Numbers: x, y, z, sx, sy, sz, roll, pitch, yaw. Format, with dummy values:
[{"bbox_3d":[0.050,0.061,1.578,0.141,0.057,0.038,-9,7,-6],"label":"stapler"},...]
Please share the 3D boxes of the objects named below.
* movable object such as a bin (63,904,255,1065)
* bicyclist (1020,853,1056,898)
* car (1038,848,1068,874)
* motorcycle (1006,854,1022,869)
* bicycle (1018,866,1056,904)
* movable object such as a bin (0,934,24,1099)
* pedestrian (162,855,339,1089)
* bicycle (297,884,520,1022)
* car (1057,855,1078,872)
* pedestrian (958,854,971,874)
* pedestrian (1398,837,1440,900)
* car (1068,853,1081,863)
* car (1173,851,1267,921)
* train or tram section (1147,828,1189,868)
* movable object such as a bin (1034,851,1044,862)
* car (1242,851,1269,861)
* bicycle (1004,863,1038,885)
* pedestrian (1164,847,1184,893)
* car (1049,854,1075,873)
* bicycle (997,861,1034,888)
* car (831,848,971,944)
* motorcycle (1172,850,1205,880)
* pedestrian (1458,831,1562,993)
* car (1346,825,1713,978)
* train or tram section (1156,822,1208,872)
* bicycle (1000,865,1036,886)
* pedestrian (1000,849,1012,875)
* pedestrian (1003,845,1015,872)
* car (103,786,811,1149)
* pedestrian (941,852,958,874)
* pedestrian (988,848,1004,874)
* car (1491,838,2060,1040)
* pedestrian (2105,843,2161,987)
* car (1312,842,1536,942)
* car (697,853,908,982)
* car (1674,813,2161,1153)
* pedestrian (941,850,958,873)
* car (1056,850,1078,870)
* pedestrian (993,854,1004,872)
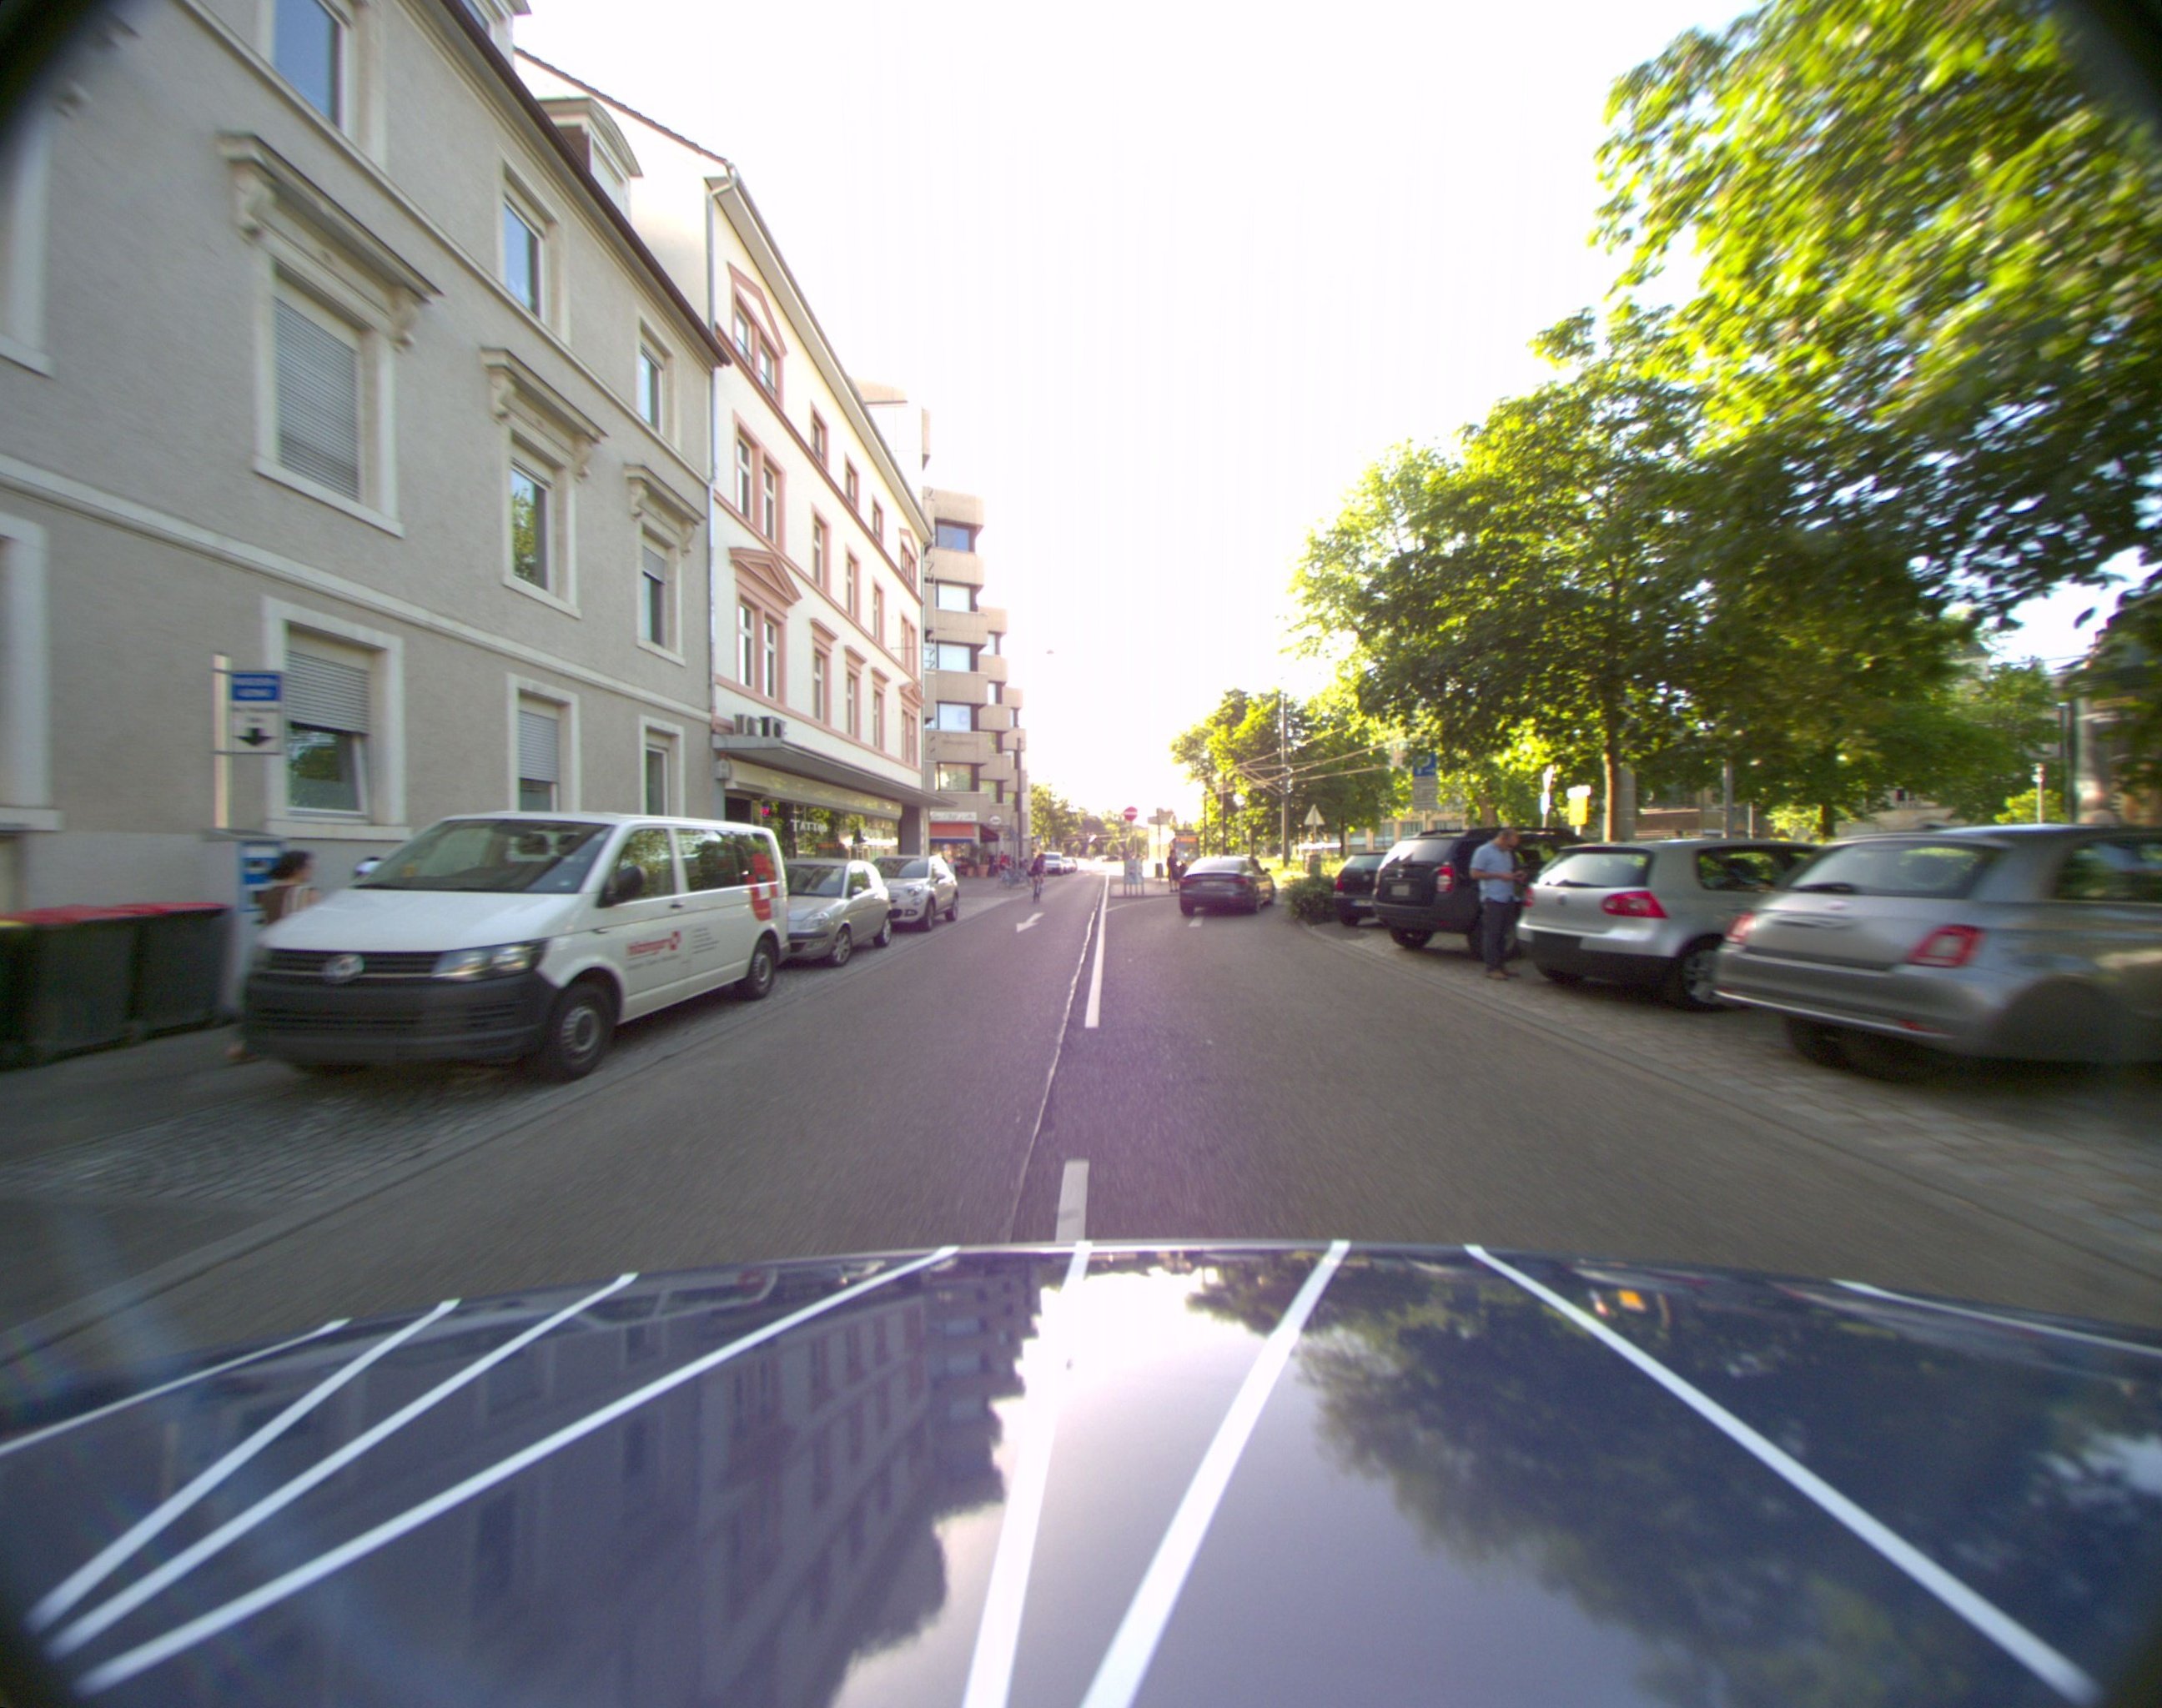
[{"bbox_3d":[-7.276,1.013,6.024,0.770,1.154,0.578,-2,2,5],"label":"movable object such as a bin"},{"bbox_3d":[-1.470,0.718,26.185,1.040,1.475,0.988,-2,2,7],"label":"bicyclist"},{"bbox_3d":[-2.154,0.521,60.095,1.998,1.802,4.309,-2,1,2],"label":"car"},{"bbox_3d":[-5.745,0.638,65.589,0.765,1.148,2.049,2,2,12],"label":"motorcycle"},{"bbox_3d":[-1.470,1.046,26.078,0.887,1.129,2.229,-2,1,7],"label":"bicycle"},{"bbox_3d":[-7.487,1.066,4.772,0.796,1.070,0.660,2,2,4],"label":"movable object such as a bin"},{"bbox_3d":[-6.158,0.846,5.652,0.751,1.598,0.458,5,2,2],"label":"pedestrian"},{"bbox_3d":[-7.030,0.972,8.067,0.483,1.179,1.722,2,3,21],"label":"bicycle"},{"bbox_3d":[-1.339,0.902,77.484,1.675,1.510,4.199,-2,1,5],"label":"car"},{"bbox_3d":[-7.618,0.660,49.703,0.844,1.285,0.830,0,2,-10],"label":"pedestrian"},{"bbox_3d":[9.316,0.388,20.961,0.671,1.689,0.803,-4,2,-39],"label":"pedestrian"},{"bbox_3d":[-0.861,0.524,103.085,1.770,1.430,4.583,0,0,0],"label":"car"},{"bbox_3d":[3.667,0.719,19.353,1.914,1.409,4.814,-2,1,15],"label":"car"},{"bbox_3d":[8.616,-0.529,76.856,2.956,3.591,13.636,-2,0,2],"label":"train or tram section"},{"bbox_3d":[-6.597,0.409,118.632,1.261,1.699,0.943,-1,2,-23],"label":"movable object such as a bin"},{"bbox_3d":[31.739,0.385,138.418,2.109,1.724,5.076,-1,0,-24],"label":"car"},{"bbox_3d":[-3.039,1.005,38.450,1.681,1.056,0.344,-2,2,18],"label":"bicycle"},{"bbox_3d":[3.425,0.585,28.147,0.637,1.663,0.692,-2,2,3],"label":"pedestrian"},{"bbox_3d":[-1.612,0.815,67.061,1.778,1.445,4.731,-2,1,4],"label":"car"},{"bbox_3d":[-3.159,0.979,36.624,1.623,1.236,0.660,-2,2,22],"label":"bicycle"},{"bbox_3d":[-3.853,0.796,17.212,1.749,1.729,4.960,-2,1,2],"label":"car"},{"bbox_3d":[5.133,0.505,36.473,0.749,1.366,1.757,-3,2,-21],"label":"motorcycle"},{"bbox_3d":[4.564,0.592,8.121,0.701,1.640,0.646,-2,2,-4],"label":"pedestrian"},{"bbox_3d":[5.992,0.548,10.346,4.001,1.658,1.998,-3,1,-14],"label":"car"},{"bbox_3d":[8.275,-0.525,63.757,2.956,3.664,13.185,-2,0,2],"label":"train or tram section"},{"bbox_3d":[-3.168,1.061,38.090,1.705,0.998,0.428,-2,2,18],"label":"bicycle"},{"bbox_3d":[-5.099,0.551,51.532,0.585,1.705,0.698,-2,2,5],"label":"pedestrian"},{"bbox_3d":[-4.957,0.290,52.287,0.672,1.846,0.610,1,2,5],"label":"pedestrian"},{"bbox_3d":[-4.380,0.630,6.785,1.998,1.993,5.117,-1,0,1],"label":"car"},{"bbox_3d":[-8.565,0.563,49.455,0.845,1.394,0.829,-2,0,-23],"label":"pedestrian"},{"bbox_3d":[-5.661,0.479,50.691,0.845,1.700,0.718,1,1,-26],"label":"pedestrian"},{"bbox_3d":[6.314,0.655,7.160,3.999,1.440,1.801,-2,2,-8],"label":"car"},{"bbox_3d":[9.833,0.538,6.733,0.646,1.253,0.700,-3,2,-13],"label":"pedestrian"},{"bbox_3d":[6.409,0.598,14.097,4.006,1.461,1.870,-3,2,-32],"label":"car"},{"bbox_3d":[-4.066,0.830,11.799,1.703,1.595,3.756,-1,1,3],"label":"car"},{"bbox_3d":[6.284,0.581,4.630,3.997,1.589,1.749,-2,2,-1],"label":"car"},{"bbox_3d":[-8.404,0.487,48.476,0.845,1.394,0.751,-3,1,-27],"label":"pedestrian"},{"bbox_3d":[-1.329,0.565,73.430,1.855,1.679,3.866,-2,1,2],"label":"car"},{"bbox_3d":[-5.649,0.629,52.321,0.631,1.229,0.624,1,2,6],"label":"pedestrian"}]
